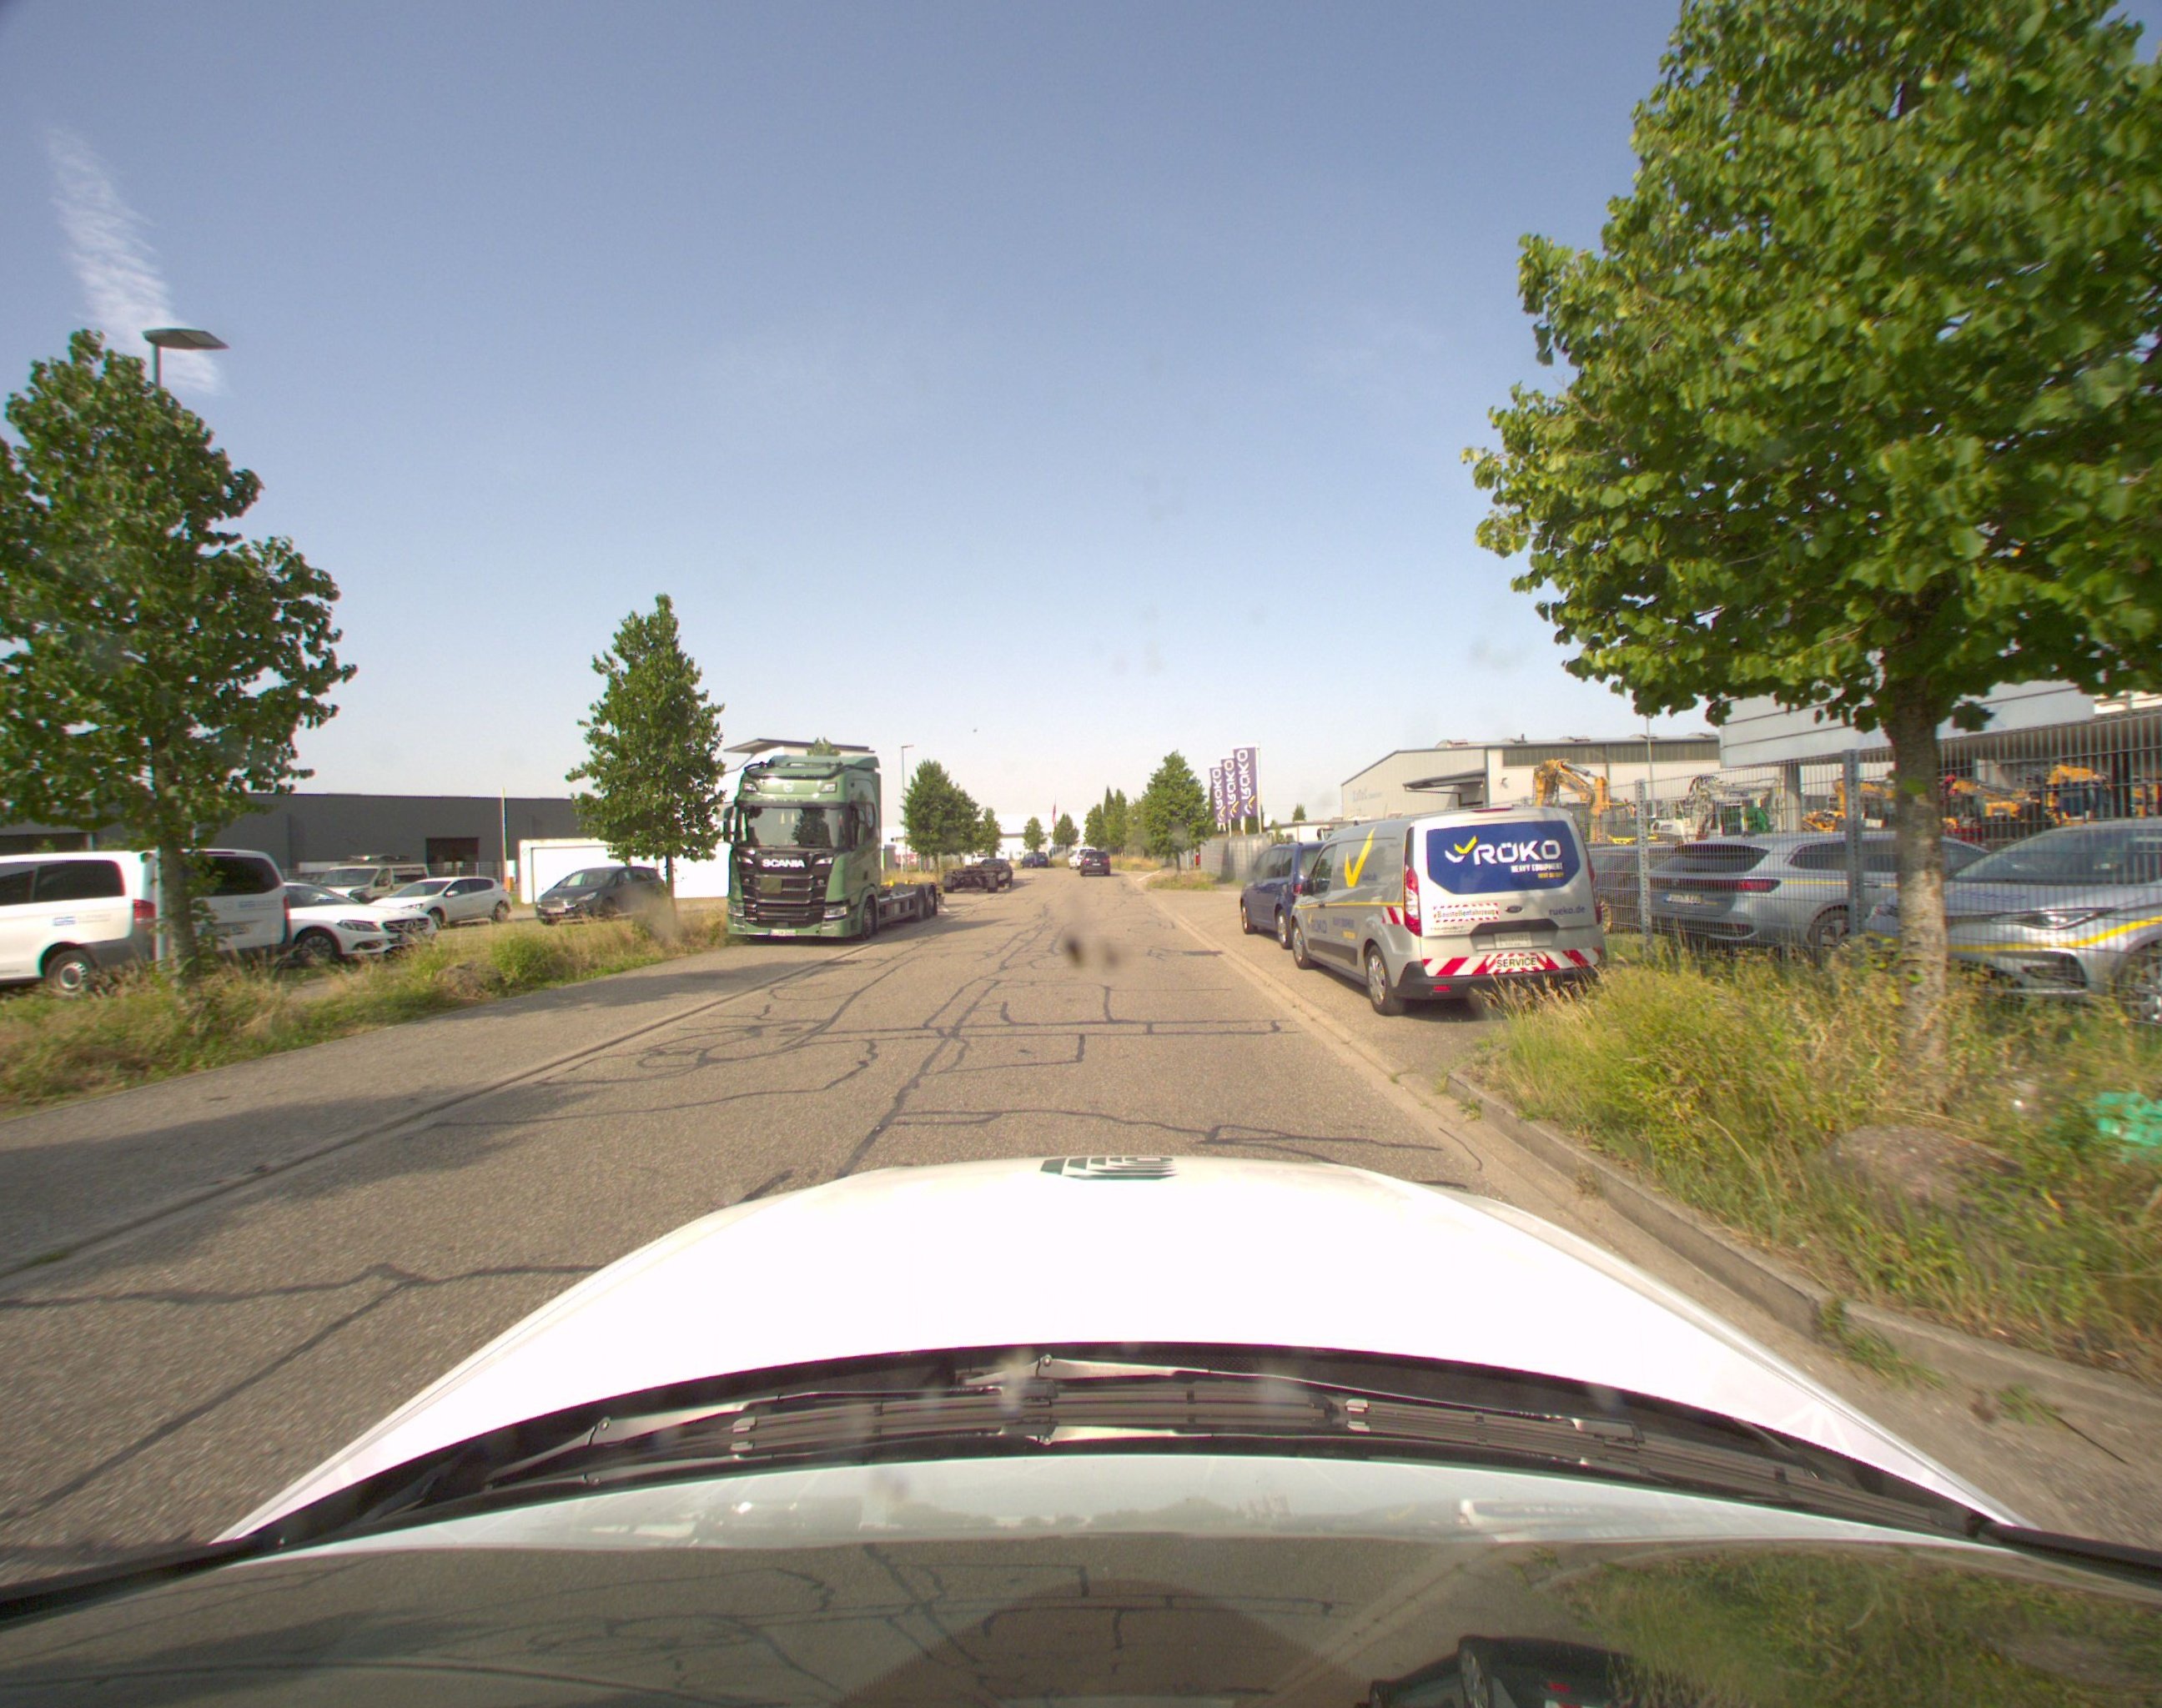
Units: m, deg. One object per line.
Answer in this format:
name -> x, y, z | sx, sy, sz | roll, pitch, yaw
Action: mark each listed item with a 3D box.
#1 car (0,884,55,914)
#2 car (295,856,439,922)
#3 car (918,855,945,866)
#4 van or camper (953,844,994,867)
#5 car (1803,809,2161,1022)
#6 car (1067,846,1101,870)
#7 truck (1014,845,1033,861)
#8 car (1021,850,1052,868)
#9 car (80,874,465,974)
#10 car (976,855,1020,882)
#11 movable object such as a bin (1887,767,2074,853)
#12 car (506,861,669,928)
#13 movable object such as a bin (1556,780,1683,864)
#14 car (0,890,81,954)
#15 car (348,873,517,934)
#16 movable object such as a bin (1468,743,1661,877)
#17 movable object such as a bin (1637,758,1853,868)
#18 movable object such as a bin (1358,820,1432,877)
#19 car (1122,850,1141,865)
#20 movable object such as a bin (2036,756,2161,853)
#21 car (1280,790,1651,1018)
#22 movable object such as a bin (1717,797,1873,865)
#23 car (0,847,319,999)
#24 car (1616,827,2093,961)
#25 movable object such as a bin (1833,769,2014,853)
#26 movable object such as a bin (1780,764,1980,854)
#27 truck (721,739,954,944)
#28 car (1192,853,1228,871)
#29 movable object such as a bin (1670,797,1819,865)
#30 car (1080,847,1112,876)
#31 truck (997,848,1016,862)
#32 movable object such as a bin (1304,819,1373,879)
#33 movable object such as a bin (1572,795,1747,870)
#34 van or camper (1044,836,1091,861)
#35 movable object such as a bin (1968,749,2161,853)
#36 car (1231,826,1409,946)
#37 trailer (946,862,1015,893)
car -> -68.516, 2.883, 51.558 | 1.857, 1.768, 4.006 | -2, 0, 5
car -> -30.582, 1.416, 35.152 | 2.051, 2.547, 5.441 | -2, -1, -10
car -> -21.291, 0.971, 116.373 | 2.149, 1.476, 4.017 | -2, 0, 16
van or camper -> -14.504, 0.171, 109.044 | 2.349, 2.943, 6.893 | -2, 0, -37
car -> 8.634, 0.413, 6.694 | 3.979, 1.477, 1.788 | 0, 0, -4
car -> 0.244, 0.306, 68.500 | 1.994, 1.899, 4.450 | -2, 0, -11
truck -> -10.364, -0.184, 146.562 | 2.441, 2.826, 8.006 | -1, 0, 2
car -> -4.553, 0.469, 83.289 | 2.002, 1.804, 3.970 | 0, 0, -23
car -> -13.617, 1.143, 13.919 | 4.705, 1.431, 2.002 | -2, 0, 4
car -> -4.797, 0.821, 47.866 | 1.986, 1.466, 4.434 | 0, 1, 2
movable object such as a bin -> 45.307, -2.063, 41.331 | 2.445, 3.929, 6.137 | -3, 0, -2
car -> -14.650, 1.111, 24.559 | 1.987, 1.686, 4.698 | -2, 0, 0
movable object such as a bin -> 27.039, -1.525, 41.203 | 2.674, 3.873, 5.721 | -2, 0, 2
car -> -27.094, 1.699, 19.841 | 1.853, 1.486, 3.967 | -2, 0, -25
car -> -19.472, 1.429, 24.724 | 1.700, 1.516, 4.212 | -3, 0, 0
movable object such as a bin -> 19.520, -1.645, 33.656 | 3.306, 4.806, 7.672 | -2, 1, 0
movable object such as a bin -> 26.872, -1.552, 33.527 | 2.909, 3.929, 7.206 | -2, 1, 0
movable object such as a bin -> 14.904, -0.267, 38.888 | 1.983, 2.458, 4.770 | -2, 0, 5
car -> 5.890, 0.415, 95.238 | 1.719, 1.643, 3.994 | 0, 0, -4
movable object such as a bin -> 45.381, -2.093, 34.429 | 2.711, 3.929, 6.016 | -3, 0, -3
car -> 3.645, 0.428, 8.851 | 1.986, 1.789, 4.602 | -2, -1, 2
movable object such as a bin -> 32.360, -0.999, 37.195 | 2.047, 2.769, 5.689 | -2, 1, 0
car -> -13.788, 0.889, 11.146 | 4.687, 1.836, 2.103 | -2, 0, 1
car -> 8.689, 0.401, 9.378 | 3.979, 1.371, 1.788 | 0, 0, -4
movable object such as a bin -> 41.978, -1.987, 40.884 | 2.445, 3.780, 6.137 | -3, 0, -2
movable object such as a bin -> 38.893, -2.017, 40.106 | 2.460, 3.929, 7.196 | -3, 0, -2
truck -> -5.382, -0.205, 20.323 | 2.445, 3.881, 9.808 | 0, 0, 3
car -> 10.175, 0.598, 64.349 | 1.876, 1.358, 4.769 | -2, 0, -2
movable object such as a bin -> 29.774, -0.998, 36.875 | 2.047, 2.769, 5.689 | -2, 1, 0
car -> 1.010, 0.459, 53.866 | 1.986, 1.804, 4.001 | 0, 0, 1
truck -> -13.330, 0.138, 146.640 | 2.441, 2.265, 8.006 | -1, 0, 2
movable object such as a bin -> 12.783, -0.247, 40.797 | 1.879, 2.752, 5.162 | -2, 0, 2
movable object such as a bin -> 23.678, -0.838, 33.828 | 2.692, 2.715, 6.348 | -3, 1, 0
van or camper -> -1.679, -0.612, 96.679 | 2.364, 2.848, 7.271 | -1, 0, -30
movable object such as a bin -> 41.978, -2.084, 34.158 | 2.711, 3.929, 6.016 | -3, 0, -3
car -> 3.926, 0.493, 14.156 | 1.820, 1.720, 4.248 | -1, -1, 0
trailer -> -4.810, 1.079, 40.071 | 2.121, 1.232, 7.163 | 0, 1, 3
